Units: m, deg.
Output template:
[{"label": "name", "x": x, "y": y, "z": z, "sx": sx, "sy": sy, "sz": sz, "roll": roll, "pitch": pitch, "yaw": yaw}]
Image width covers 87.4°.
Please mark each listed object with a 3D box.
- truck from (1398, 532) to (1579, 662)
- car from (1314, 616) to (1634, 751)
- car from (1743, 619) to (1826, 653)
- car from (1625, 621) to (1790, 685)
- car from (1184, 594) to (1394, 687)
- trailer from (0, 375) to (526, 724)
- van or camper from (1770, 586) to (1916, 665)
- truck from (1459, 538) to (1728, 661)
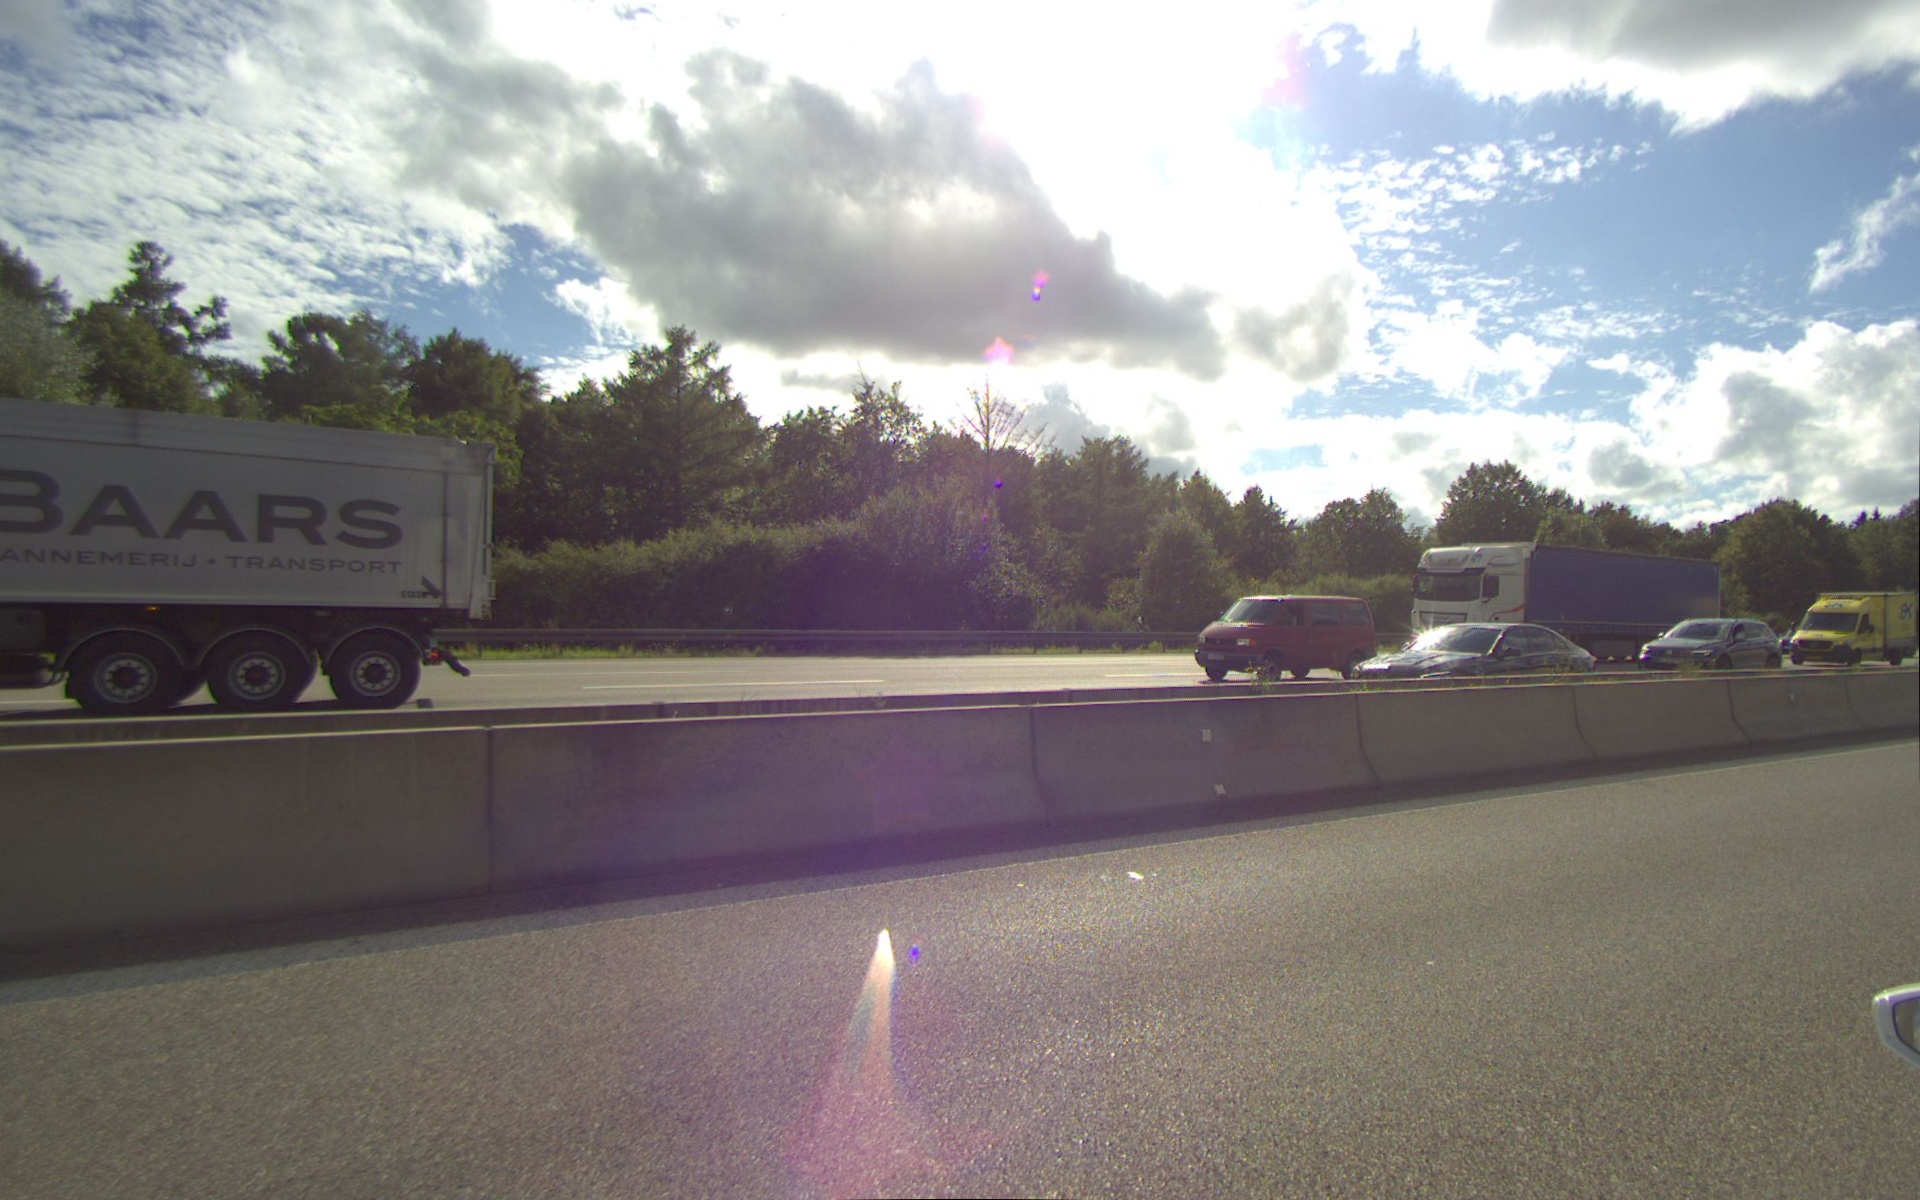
[{"label": "truck", "x": 18.345, "y": -0.033, "z": 34.813, "sx": 5.991, "sy": 4.149, "sz": 2.806, "roll": 1, "pitch": 0, "yaw": -30}, {"label": "car", "x": 8.471, "y": 1.246, "z": 16.440, "sx": 5.298, "sy": 1.903, "sz": 2.161, "roll": 1, "pitch": -2, "yaw": -30}, {"label": "car", "x": 38.735, "y": 1.693, "z": 47.186, "sx": 3.974, "sy": 1.490, "sz": 1.689, "roll": 1, "pitch": -1, "yaw": -30}, {"label": "car", "x": 20.286, "y": 1.393, "z": 27.218, "sx": 4.855, "sy": 1.617, "sz": 1.835, "roll": 1, "pitch": -2, "yaw": -30}, {"label": "car", "x": 7.725, "y": 0.906, "z": 23.423, "sx": 4.976, "sy": 1.966, "sz": 1.838, "roll": 1, "pitch": -1, "yaw": -31}, {"label": "trailer", "x": -11.627, "y": -0.567, "z": 12.489, "sx": 11.148, "sy": 3.909, "sz": 2.953, "roll": 1, "pitch": 0, "yaw": -30}, {"label": "van or camper", "x": 35.296, "y": 1.015, "z": 40.103, "sx": 6.427, "sy": 2.930, "sz": 2.363, "roll": 1, "pitch": 0, "yaw": -29}, {"label": "truck", "x": 24.662, "y": 0.125, "z": 38.591, "sx": 13.683, "sy": 4.149, "sz": 2.805, "roll": 1, "pitch": 0, "yaw": -31}]
